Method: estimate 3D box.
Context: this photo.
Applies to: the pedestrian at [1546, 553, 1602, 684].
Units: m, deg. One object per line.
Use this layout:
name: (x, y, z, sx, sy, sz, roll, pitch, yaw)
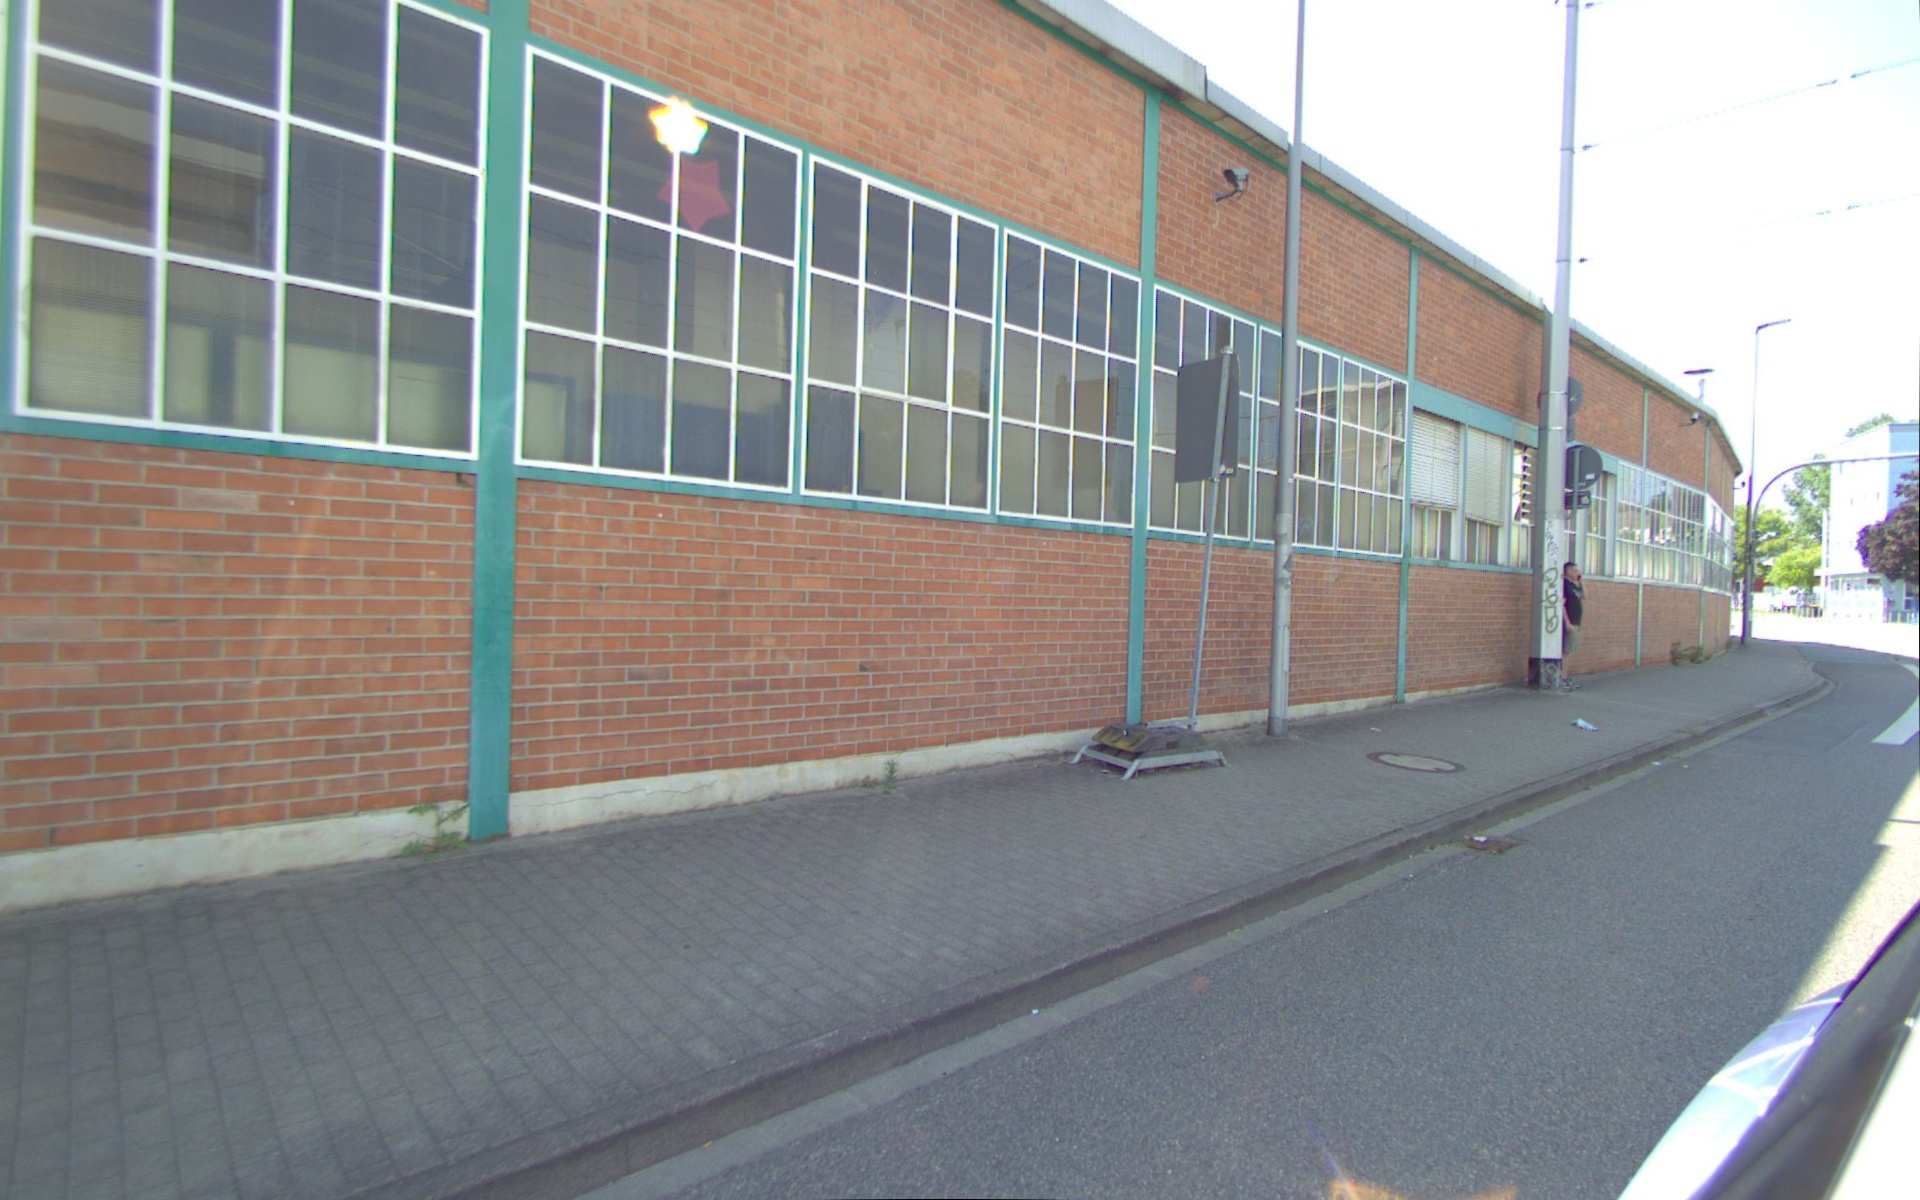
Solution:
pedestrian: (8.601, 0.264, 14.169, 0.674, 1.787, 0.448, 4, -2, -40)
